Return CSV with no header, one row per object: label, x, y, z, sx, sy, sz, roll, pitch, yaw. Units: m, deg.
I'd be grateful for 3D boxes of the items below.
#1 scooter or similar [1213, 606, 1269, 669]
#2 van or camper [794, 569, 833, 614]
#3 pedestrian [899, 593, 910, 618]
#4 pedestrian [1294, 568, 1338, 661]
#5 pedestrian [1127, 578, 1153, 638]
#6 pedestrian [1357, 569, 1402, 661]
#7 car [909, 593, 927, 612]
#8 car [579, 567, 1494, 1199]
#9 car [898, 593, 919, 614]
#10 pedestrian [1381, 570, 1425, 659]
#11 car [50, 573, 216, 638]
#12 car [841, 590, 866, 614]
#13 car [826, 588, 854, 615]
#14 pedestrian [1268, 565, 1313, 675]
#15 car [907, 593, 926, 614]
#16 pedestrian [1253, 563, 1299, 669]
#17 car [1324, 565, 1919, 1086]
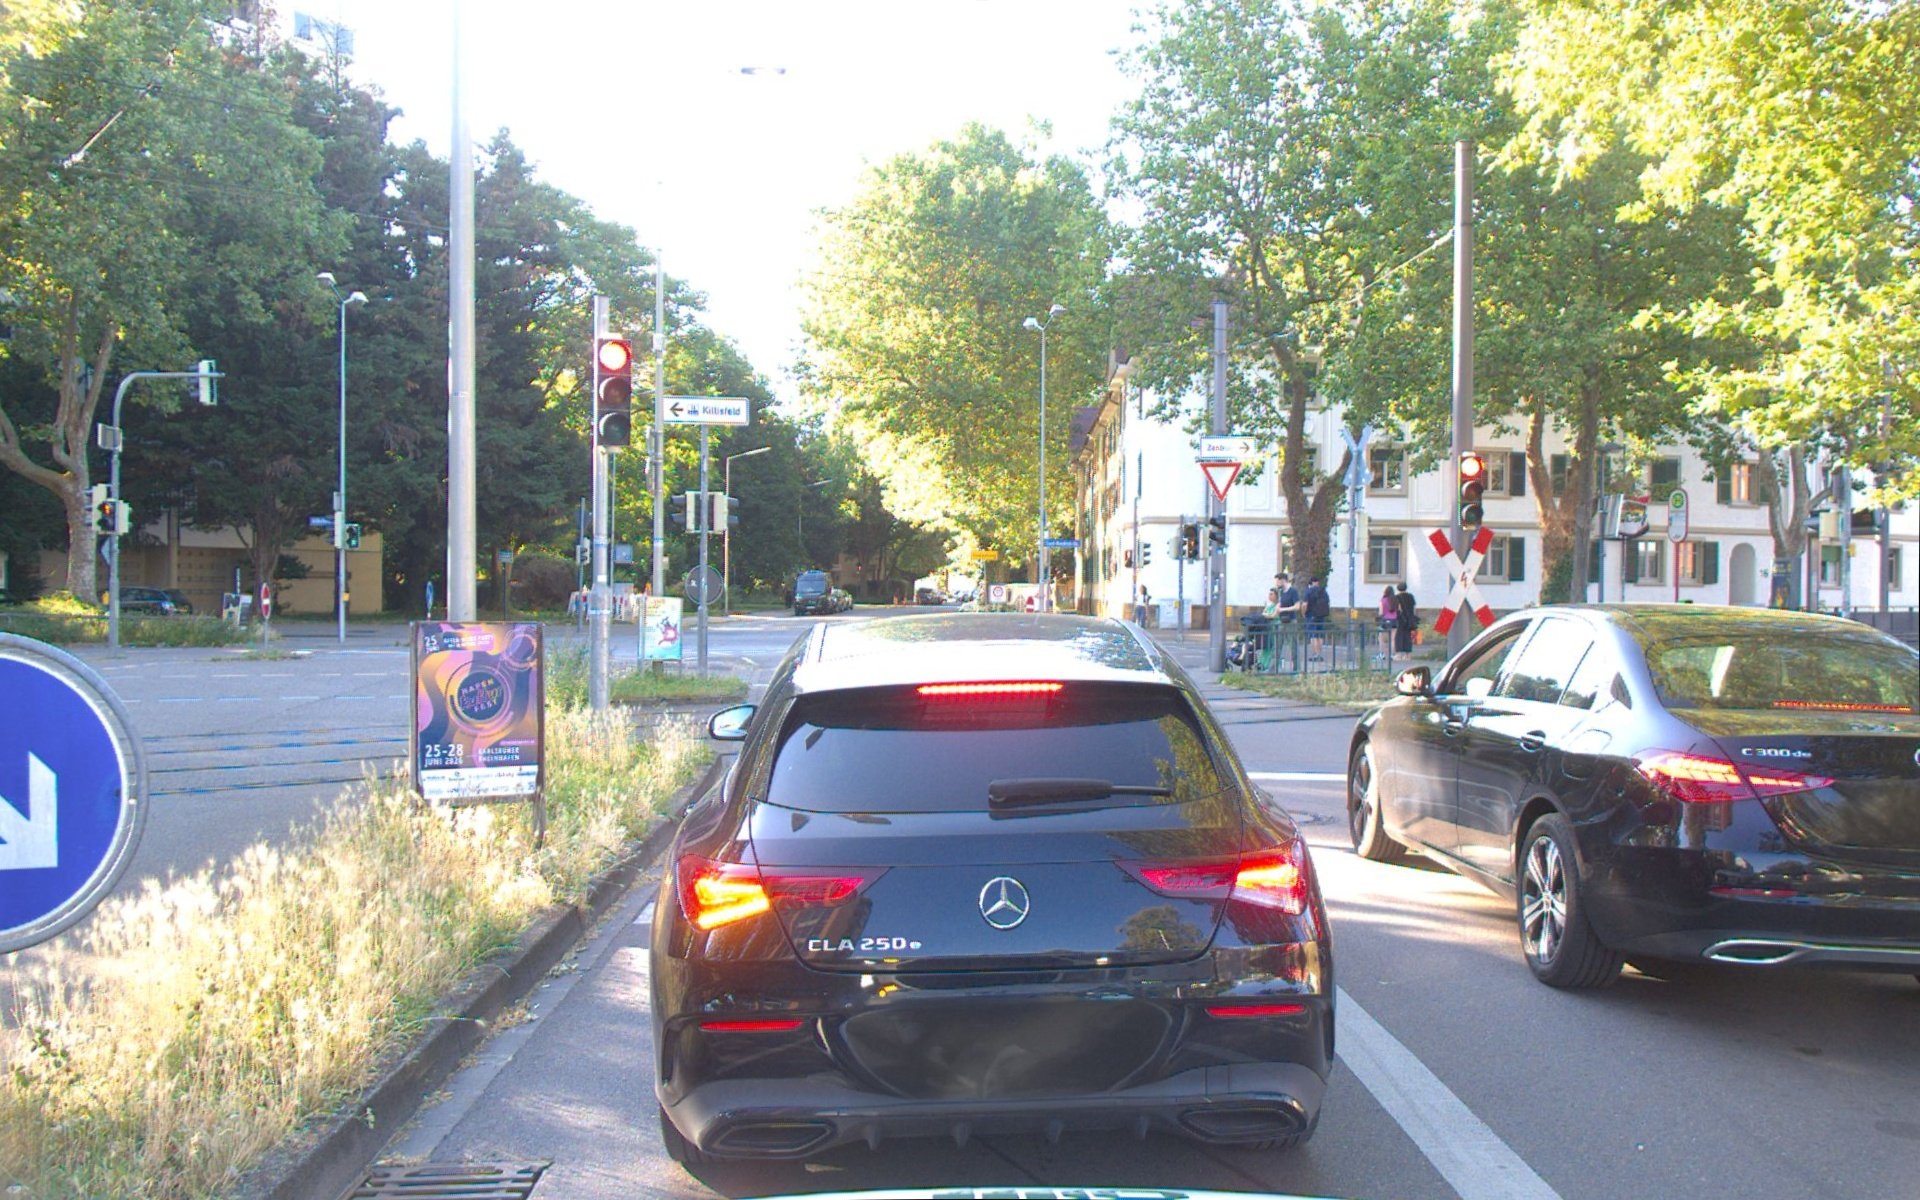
scooter or similar,5.186,0.684,30.554,0.812,1.124,0.808,1,0,-6
van or camper,-8.791,-0.482,99.605,1.953,2.586,4.650,1,0,-1
pedestrian,-4.363,0.458,129.947,0.692,1.951,0.837,1,-1,-11
pedestrian,7.603,0.299,35.342,0.691,1.951,0.838,1,-1,-4
pedestrian,5.893,0.262,54.096,0.691,1.951,0.838,1,-1,-4
pedestrian,9.068,0.328,35.796,0.691,1.951,0.838,1,-1,-4
car,-4.001,0.212,158.395,1.698,1.796,4.018,1,0,-1
car,0.171,0.687,5.389,1.851,1.475,4.001,1,2,0
car,-4.527,0.354,145.482,1.698,1.796,4.018,1,0,-1
pedestrian,9.858,0.316,36.808,0.691,1.951,0.838,1,-1,-4
car,-24.379,0.153,48.842,3.902,1.805,2.001,1,0,7
car,-8.131,0.149,126.271,1.698,1.796,3.970,1,0,-1
car,-8.476,0.103,116.930,1.698,1.796,4.084,1,0,-1
pedestrian,5.989,0.357,29.989,0.668,1.951,0.707,1,-1,2
car,-3.952,0.322,150.312,1.698,1.796,4.018,1,0,-1
pedestrian,5.912,0.306,30.969,0.669,1.951,0.706,1,-1,-5
car,3.096,0.661,7.279,1.851,1.516,4.380,1,2,-2
